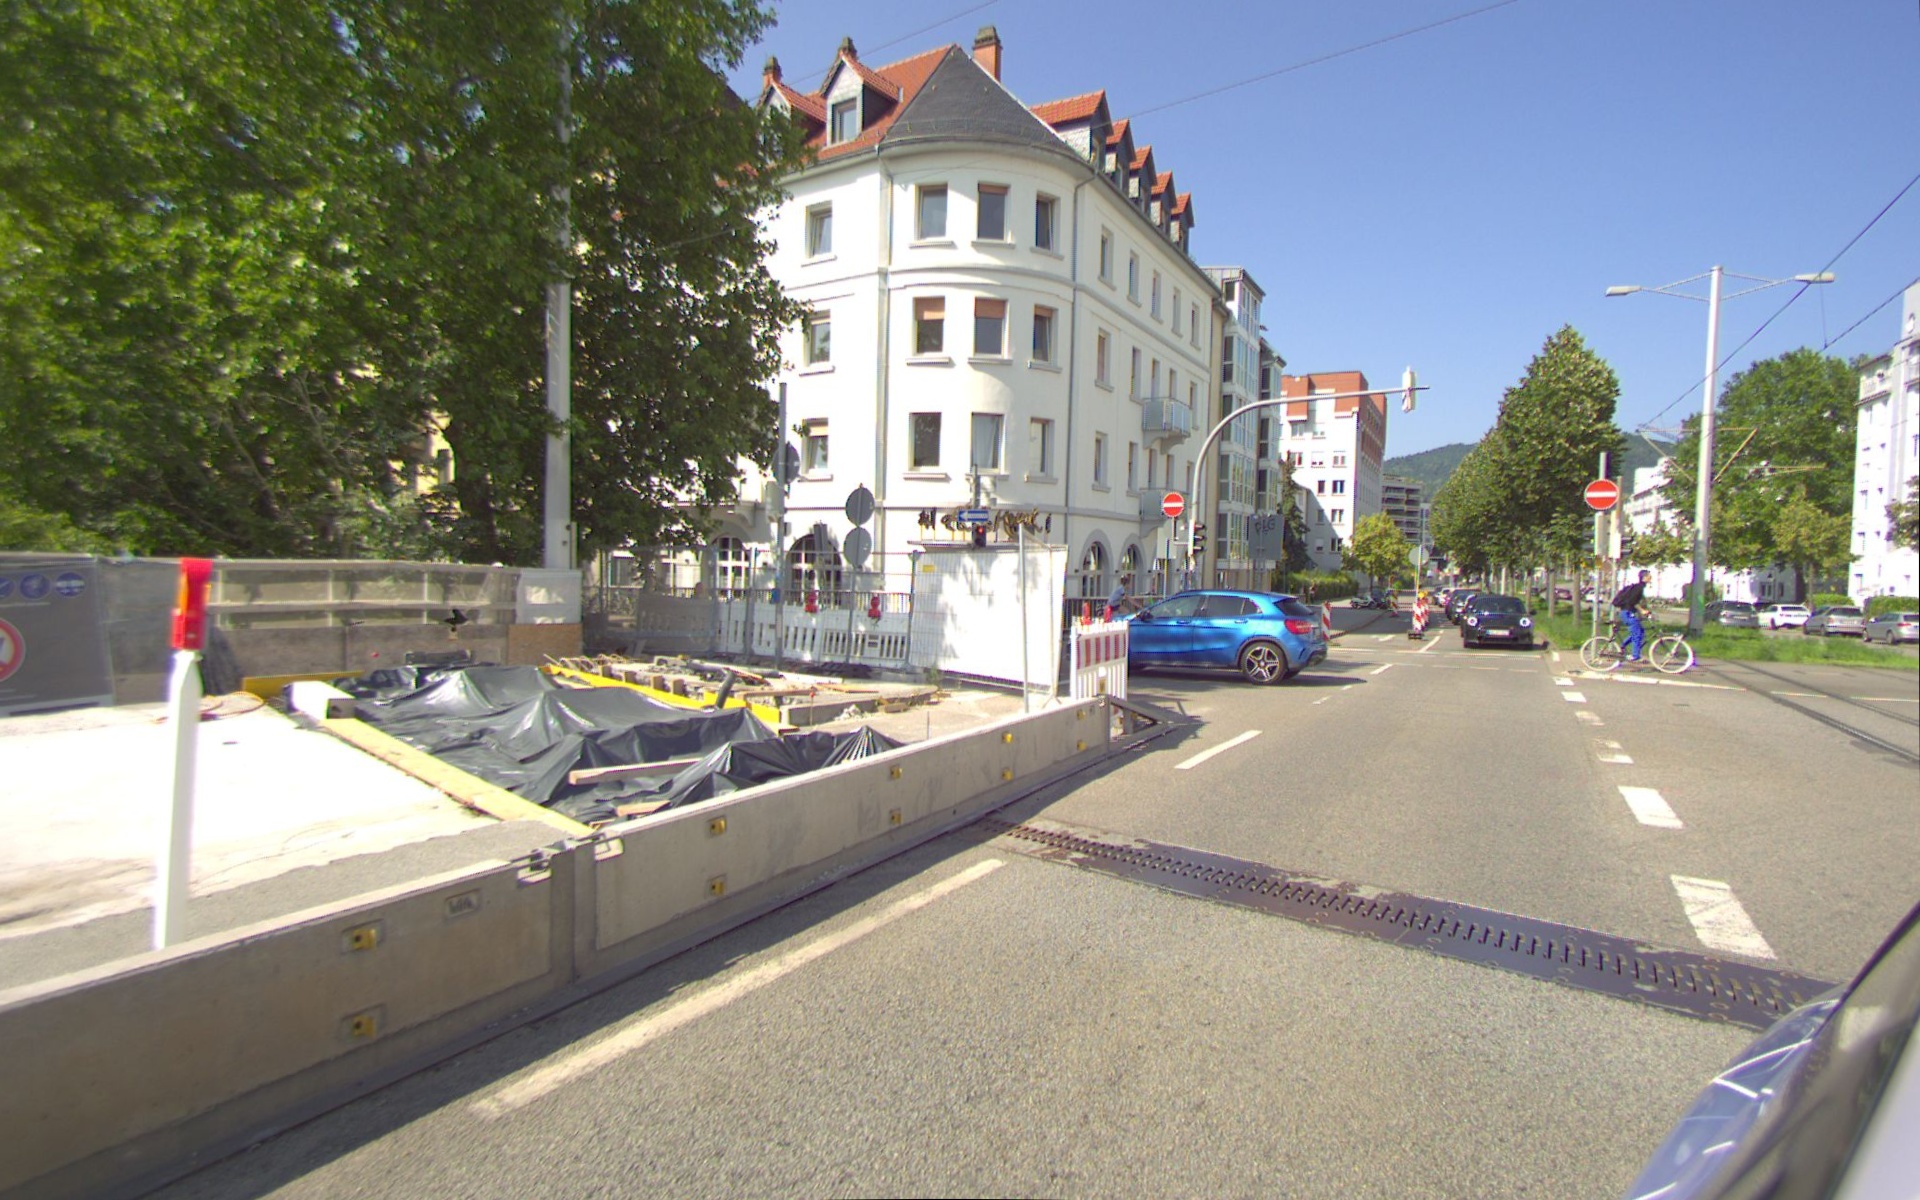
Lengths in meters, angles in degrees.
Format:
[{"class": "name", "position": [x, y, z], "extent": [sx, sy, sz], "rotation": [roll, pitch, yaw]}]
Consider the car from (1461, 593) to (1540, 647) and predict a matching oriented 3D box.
[{"class": "car", "position": [15.251, 0.507, 28.459], "extent": [1.754, 1.338, 3.956], "rotation": [1, 1, 31]}]

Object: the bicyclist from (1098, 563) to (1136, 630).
[{"class": "bicyclist", "position": [3.820, -0.102, 24.609], "extent": [0.775, 1.568, 0.706], "rotation": [2, 3, 21]}]

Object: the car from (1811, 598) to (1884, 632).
[{"class": "car", "position": [44.135, 0.715, 50.435], "extent": [1.722, 1.503, 3.708], "rotation": [2, 2, 25]}]

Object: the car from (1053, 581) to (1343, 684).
[{"class": "car", "position": [3.978, 0.467, 17.142], "extent": [4.512, 1.499, 1.659], "rotation": [1, 0, 30]}]

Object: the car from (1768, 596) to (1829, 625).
[{"class": "car", "position": [47.063, 0.570, 56.900], "extent": [1.722, 1.503, 3.708], "rotation": [2, 2, 25]}]

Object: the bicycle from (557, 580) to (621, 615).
[{"class": "bicycle", "position": [-13.303, -0.102, 36.206], "extent": [2.845, 1.151, 0.828], "rotation": [2, 1, 39]}]

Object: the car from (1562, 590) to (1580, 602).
[{"class": "car", "position": [79.626, -0.536, 131.895], "extent": [1.782, 1.503, 3.705], "rotation": [2, 2, 27]}]

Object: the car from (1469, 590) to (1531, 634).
[{"class": "car", "position": [18.519, 0.359, 34.660], "extent": [1.753, 1.371, 3.959], "rotation": [1, 1, 29]}]

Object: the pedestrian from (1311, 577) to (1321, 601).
[{"class": "pedestrian", "position": [25.963, -0.809, 73.815], "extent": [0.592, 1.785, 0.746], "rotation": [2, 1, 24]}]

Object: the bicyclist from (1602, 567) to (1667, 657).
[{"class": "bicyclist", "position": [12.895, 0.234, 19.362], "extent": [1.003, 1.675, 0.799], "rotation": [0, -2, 35]}]

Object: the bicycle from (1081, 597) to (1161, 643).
[{"class": "bicycle", "position": [3.904, 0.465, 24.604], "extent": [1.798, 1.003, 0.705], "rotation": [2, 2, 21]}]

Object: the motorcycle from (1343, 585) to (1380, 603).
[{"class": "motorcycle", "position": [26.975, -0.409, 68.022], "extent": [2.163, 1.180, 0.735], "rotation": [3, 2, 32]}]

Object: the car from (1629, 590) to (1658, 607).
[{"class": "car", "position": [65.723, -0.166, 97.324], "extent": [1.722, 1.503, 3.708], "rotation": [2, 2, 25]}]

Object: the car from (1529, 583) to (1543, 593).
[{"class": "car", "position": [101.221, -2.112, 177.855], "extent": [1.782, 1.703, 3.705], "rotation": [2, 2, 27]}]

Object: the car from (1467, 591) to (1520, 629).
[{"class": "car", "position": [21.121, 0.347, 40.104], "extent": [1.752, 1.371, 3.961], "rotation": [1, 1, 28]}]

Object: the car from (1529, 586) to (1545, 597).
[{"class": "car", "position": [81.802, -1.196, 143.462], "extent": [1.782, 1.503, 3.705], "rotation": [2, 2, 27]}]

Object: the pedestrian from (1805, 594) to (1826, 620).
[{"class": "pedestrian", "position": [56.799, 0.477, 67.231], "extent": [0.852, 1.686, 0.900], "rotation": [3, 2, 31]}]

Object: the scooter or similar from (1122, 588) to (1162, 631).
[{"class": "scooter or similar", "position": [5.025, 0.258, 27.884], "extent": [1.282, 1.131, 0.338], "rotation": [1, 2, -42]}]

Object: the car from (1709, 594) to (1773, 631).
[{"class": "car", "position": [37.279, 0.553, 48.412], "extent": [1.681, 1.575, 3.622], "rotation": [3, 2, 27]}]

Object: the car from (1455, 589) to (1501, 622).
[{"class": "car", "position": [23.542, 0.210, 46.060], "extent": [1.750, 1.371, 3.964], "rotation": [1, 1, 26]}]

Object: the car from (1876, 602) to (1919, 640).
[{"class": "car", "position": [40.844, 0.882, 43.041], "extent": [1.722, 1.503, 3.708], "rotation": [2, 2, 25]}]

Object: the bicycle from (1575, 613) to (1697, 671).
[{"class": "bicycle", "position": [12.880, 0.776, 19.346], "extent": [1.899, 1.033, 0.811], "rotation": [1, -1, 34]}]

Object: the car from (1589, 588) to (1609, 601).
[{"class": "car", "position": [77.307, -0.639, 122.432], "extent": [1.724, 1.503, 3.705], "rotation": [2, 2, 27]}]

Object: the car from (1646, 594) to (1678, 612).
[{"class": "car", "position": [62.408, 0.222, 90.012], "extent": [1.722, 1.503, 3.708], "rotation": [2, 2, 25]}]
